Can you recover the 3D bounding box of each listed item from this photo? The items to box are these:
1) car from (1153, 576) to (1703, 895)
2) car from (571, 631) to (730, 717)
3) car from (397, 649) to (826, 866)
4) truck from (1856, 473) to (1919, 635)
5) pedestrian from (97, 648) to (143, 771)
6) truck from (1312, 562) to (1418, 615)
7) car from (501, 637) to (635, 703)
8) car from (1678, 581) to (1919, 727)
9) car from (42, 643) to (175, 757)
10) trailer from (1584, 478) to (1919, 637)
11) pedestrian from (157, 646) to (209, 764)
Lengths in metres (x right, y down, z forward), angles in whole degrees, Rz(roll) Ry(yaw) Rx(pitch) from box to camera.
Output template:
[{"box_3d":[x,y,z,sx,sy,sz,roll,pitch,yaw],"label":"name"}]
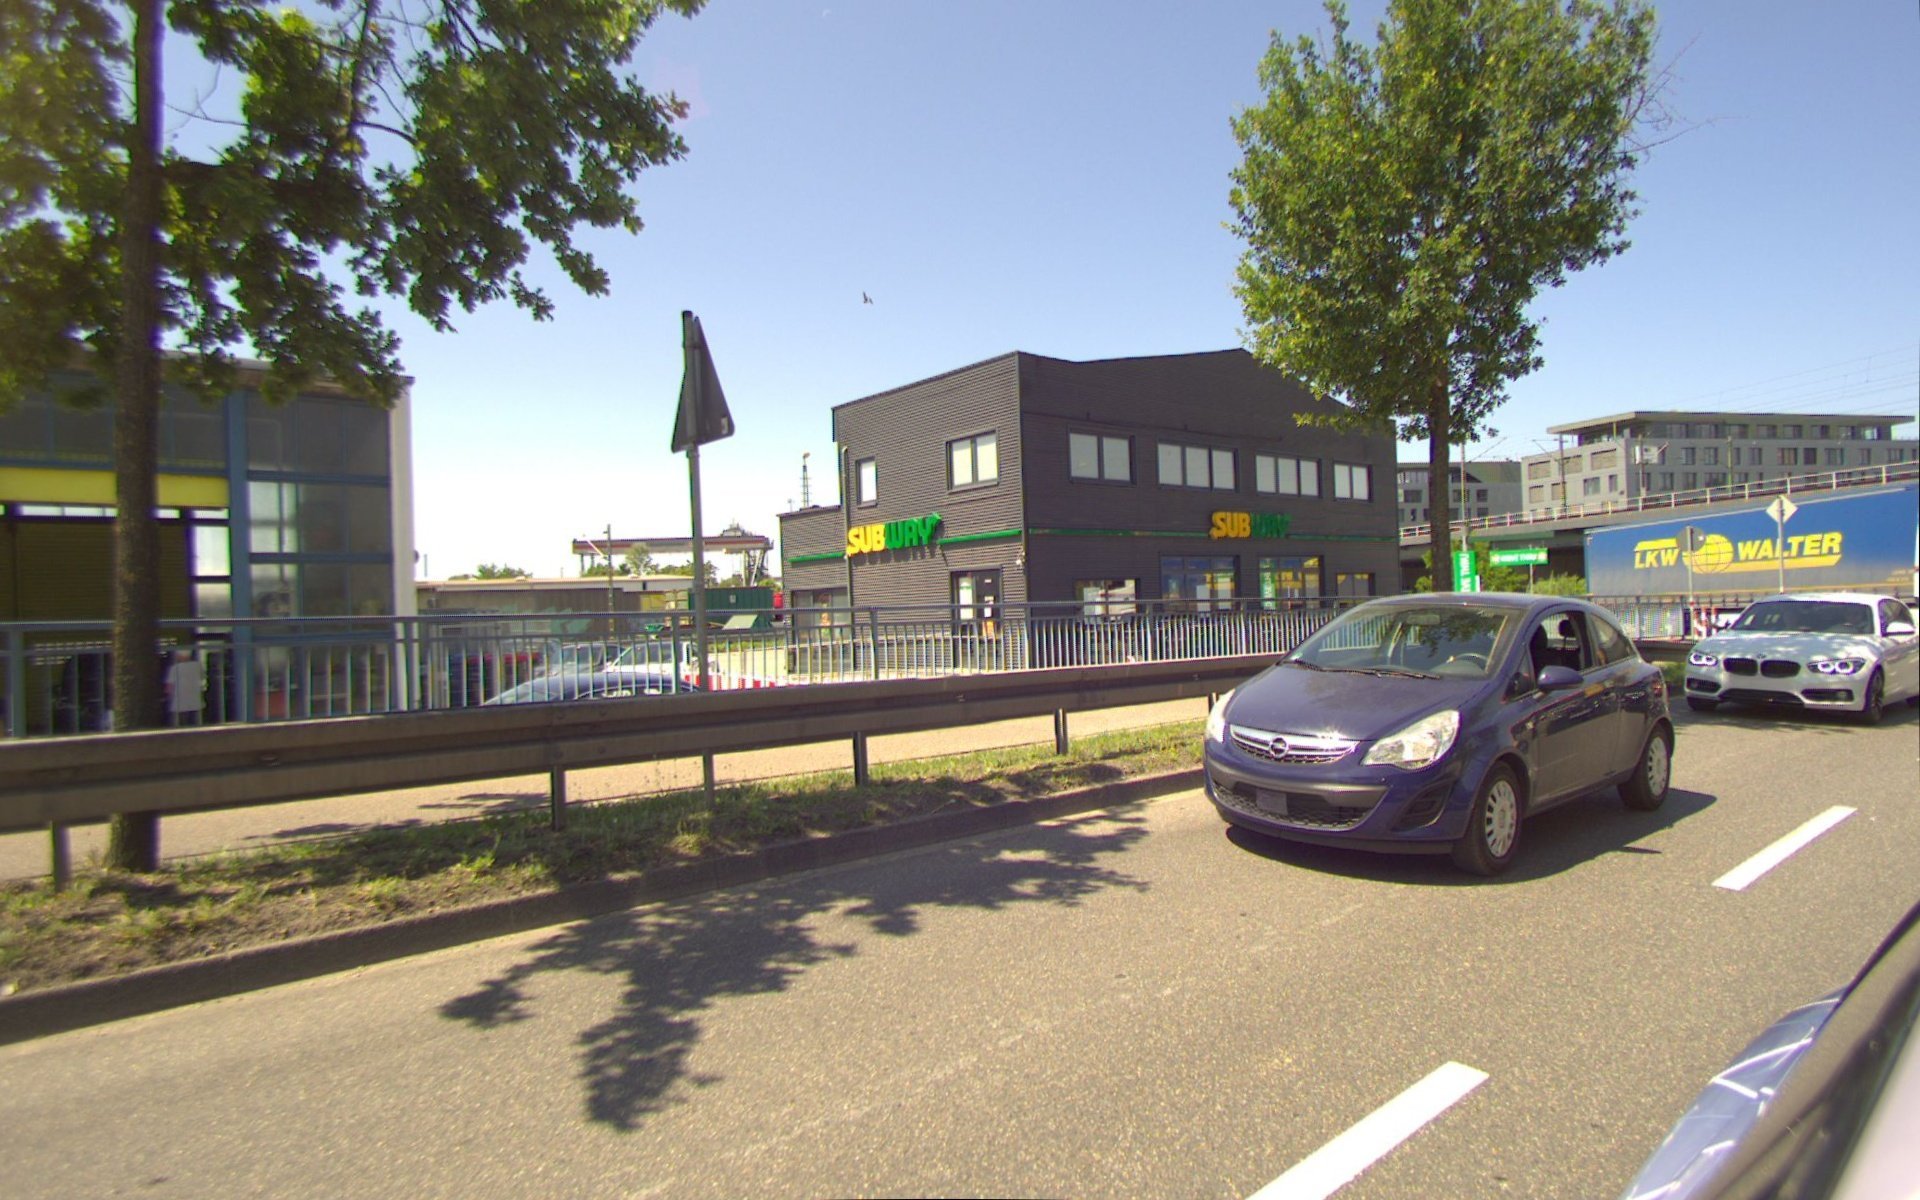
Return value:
[{"box_3d":[3.138,0.603,6.482,3.820,1.462,1.650,-1,0,-38],"label":"car"},{"box_3d":[-6.465,1.484,21.823,1.962,1.375,5.084,-1,1,-1],"label":"car"},{"box_3d":[-3.458,1.418,10.394,3.830,1.551,1.636,-2,1,-39],"label":"car"},{"box_3d":[25.819,-1.193,25.268,2.536,4.153,5.742,-1,0,12],"label":"truck"},{"box_3d":[-12.370,1.598,14.911,0.479,1.724,0.522,-1,0,-39],"label":"pedestrian"},{"box_3d":[34.832,-1.133,86.336,2.742,4.154,17.182,-1,1,41],"label":"truck"},{"box_3d":[-9.318,1.636,24.342,1.454,1.268,3.607,-1,1,7],"label":"car"},{"box_3d":[10.593,0.526,12.416,3.977,1.461,1.764,-1,2,-37],"label":"car"},{"box_3d":[-15.687,1.729,18.580,1.623,1.705,3.670,-2,1,-44],"label":"car"},{"box_3d":[25.937,-1.099,32.471,2.451,4.142,13.912,-1,0,-3],"label":"trailer"},{"box_3d":[-11.853,1.579,15.434,0.579,1.724,0.426,-1,0,-41],"label":"pedestrian"}]
